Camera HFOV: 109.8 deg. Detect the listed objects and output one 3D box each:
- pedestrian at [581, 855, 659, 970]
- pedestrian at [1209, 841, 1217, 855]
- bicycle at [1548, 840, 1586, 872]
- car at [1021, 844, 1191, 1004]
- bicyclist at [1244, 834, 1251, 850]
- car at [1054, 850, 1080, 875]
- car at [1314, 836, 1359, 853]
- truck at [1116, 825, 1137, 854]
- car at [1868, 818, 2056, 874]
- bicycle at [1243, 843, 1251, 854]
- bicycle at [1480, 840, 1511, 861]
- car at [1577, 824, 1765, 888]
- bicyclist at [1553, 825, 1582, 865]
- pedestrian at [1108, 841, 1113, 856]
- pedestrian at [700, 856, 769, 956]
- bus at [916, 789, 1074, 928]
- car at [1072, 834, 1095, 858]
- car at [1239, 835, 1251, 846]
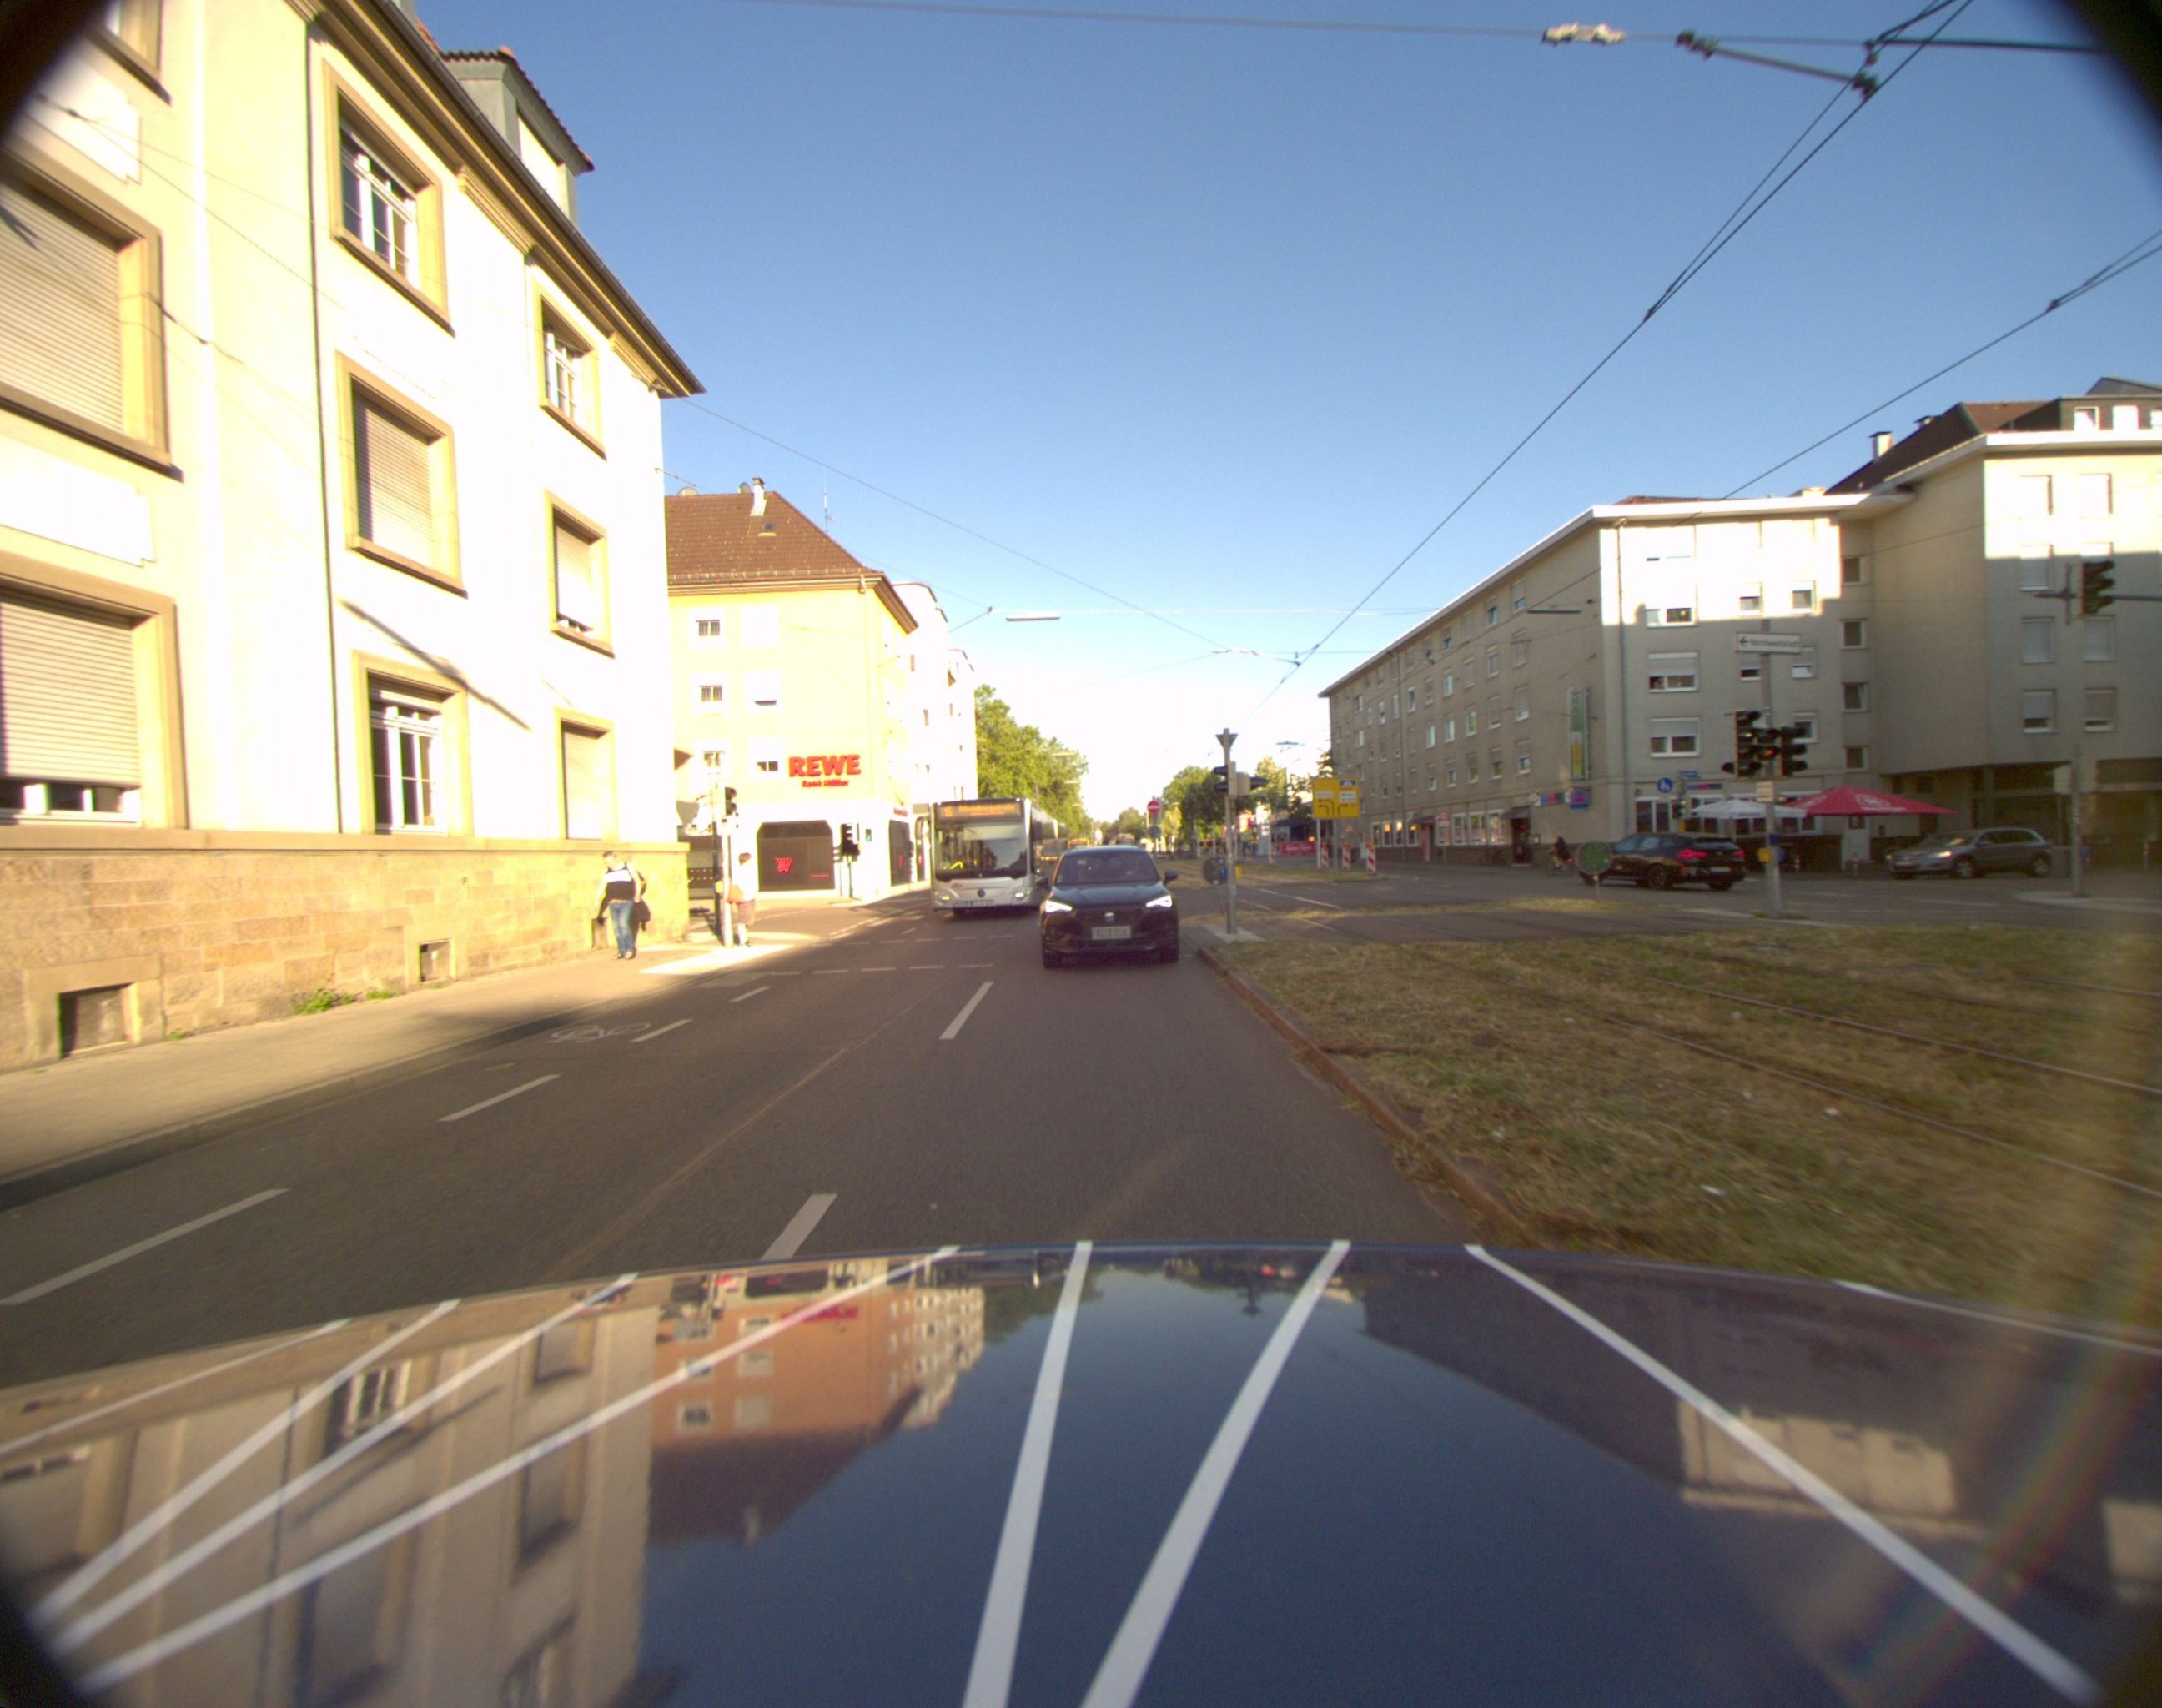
[{"bbox_3d":[-7.367,0.905,12.173,0.631,1.748,0.825,-3,2,1],"label":"pedestrian"},{"bbox_3d":[12.742,-0.559,73.294,0.664,1.263,0.581,-4,1,2],"label":"pedestrian"},{"bbox_3d":[20.031,0.078,31.378,0.456,1.250,1.871,-3,0,5],"label":"bicycle"},{"bbox_3d":[0.318,0.759,10.411,1.774,1.667,4.000,-4,1,1],"label":"car"},{"bbox_3d":[19.099,-1.375,87.284,0.652,1.872,0.809,-2,1,2],"label":"bicyclist"},{"bbox_3d":[-1.045,0.577,56.025,1.750,1.598,3.823,-4,1,0],"label":"car"},{"bbox_3d":[24.598,-0.908,73.246,3.727,1.460,1.908,-2,-1,0],"label":"car"},{"bbox_3d":[6.320,-2.100,106.407,2.305,3.798,7.722,-4,1,1],"label":"truck"},{"bbox_3d":[28.578,-0.270,24.709,4.197,1.614,1.998,-2,1,-7],"label":"car"},{"bbox_3d":[19.068,-0.662,87.281,0.456,1.250,1.871,-3,0,2],"label":"bicycle"},{"bbox_3d":[21.829,-0.200,40.065,0.609,1.018,1.844,-4,1,1],"label":"bicycle"},{"bbox_3d":[17.037,0.012,22.319,1.902,1.624,4.747,-2,1,2],"label":"car"},{"bbox_3d":[20.015,-0.366,31.267,0.627,1.577,0.809,-3,1,3],"label":"bicyclist"},{"bbox_3d":[4.170,-0.745,106.773,0.625,2.002,0.695,-4,1,1],"label":"pedestrian"},{"bbox_3d":[-6.356,0.930,13.977,0.837,1.752,0.824,-1,2,1],"label":"pedestrian"},{"bbox_3d":[-2.109,-0.046,26.709,2.772,3.132,17.740,-3,1,2],"label":"bus"},{"bbox_3d":[0.291,-1.021,97.191,2.681,2.875,5.451,-4,1,1],"label":"car"},{"bbox_3d":[27.330,-2.291,126.848,1.781,1.547,4.001,-3,2,10],"label":"car"}]
